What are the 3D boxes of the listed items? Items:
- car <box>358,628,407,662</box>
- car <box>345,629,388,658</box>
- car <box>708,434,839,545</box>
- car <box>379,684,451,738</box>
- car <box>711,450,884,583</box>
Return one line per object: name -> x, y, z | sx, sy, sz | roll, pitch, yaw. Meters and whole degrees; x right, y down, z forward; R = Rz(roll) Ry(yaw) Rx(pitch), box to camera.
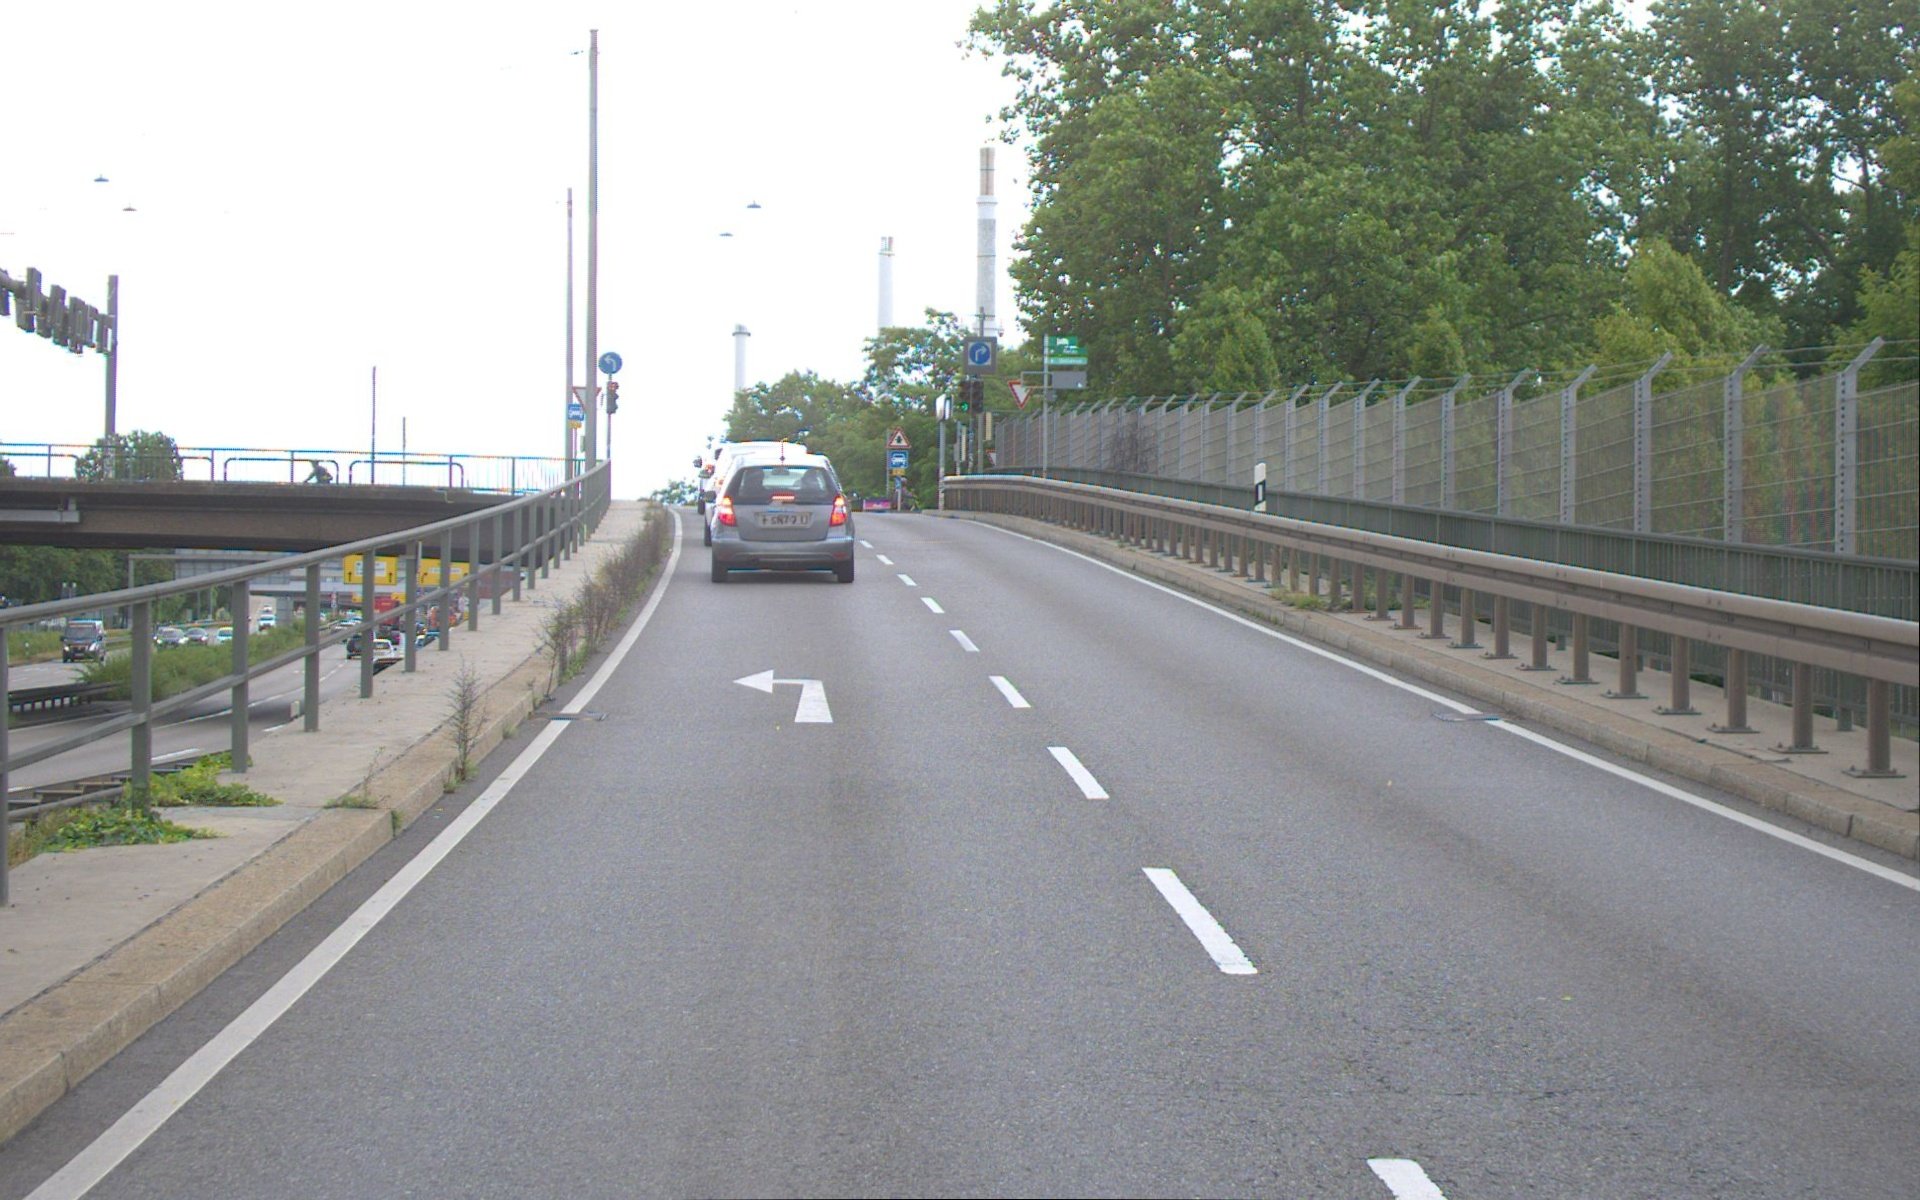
car -> -31.011, 2.399, 184.683 | 1.993, 1.678, 4.000 | 1, 1, -1
car -> -37.144, 2.704, 215.302 | 1.993, 1.678, 4.000 | 1, 1, -1
car -> -2.968, -1.787, 54.510 | 1.993, 1.597, 4.001 | 0, 4, -3
car -> -16.370, 3.326, 103.455 | 1.993, 1.415, 4.001 | 1, 1, -7
car -> -1.996, -1.026, 43.349 | 1.750, 1.575, 4.084 | 1, 1, 3
